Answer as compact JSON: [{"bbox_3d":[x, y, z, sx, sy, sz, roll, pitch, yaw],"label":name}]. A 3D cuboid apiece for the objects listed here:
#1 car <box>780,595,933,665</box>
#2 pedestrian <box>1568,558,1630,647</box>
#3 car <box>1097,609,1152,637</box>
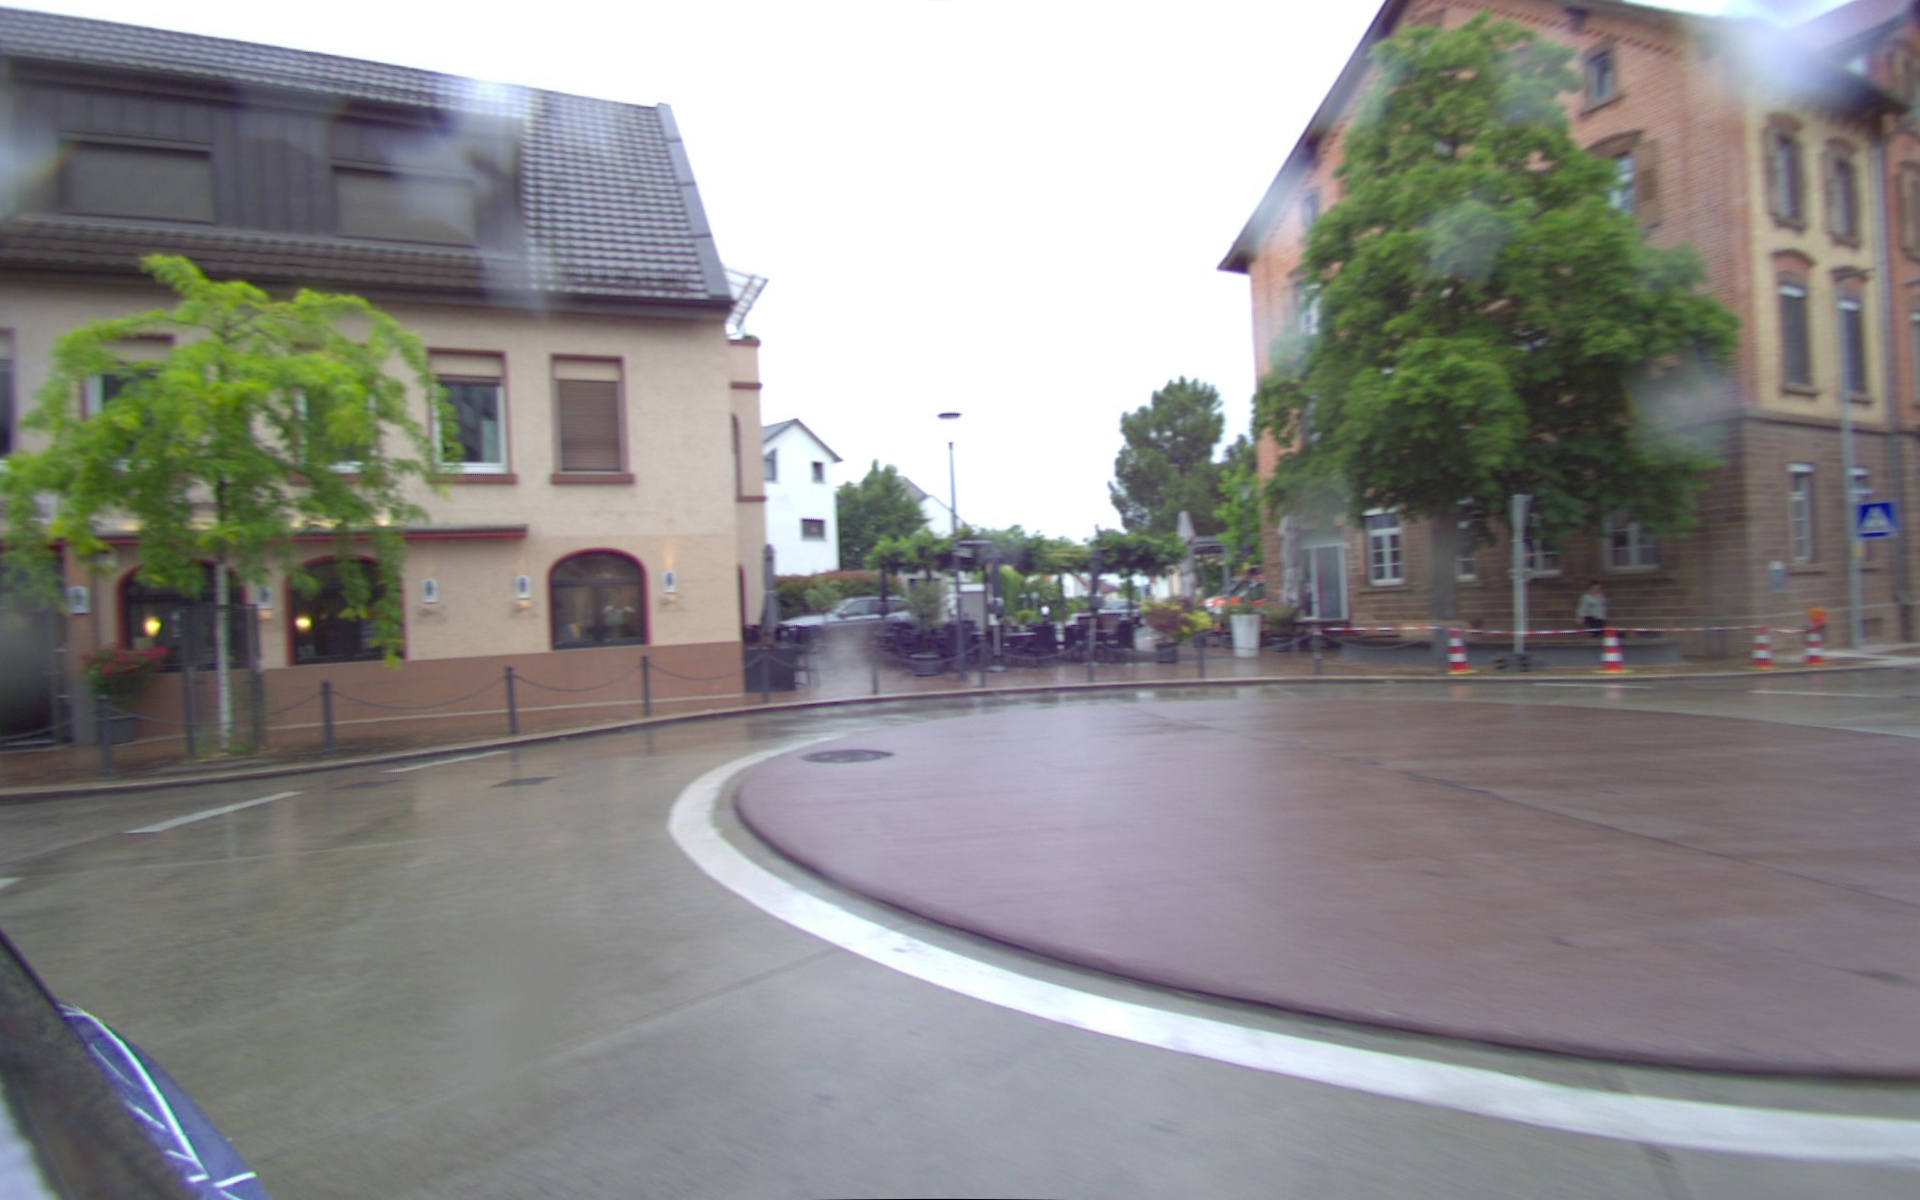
[{"bbox_3d":[-3.256,0.895,31.433,4.412,2.029,2.006,0,-1,-16],"label":"car"},{"bbox_3d":[14.030,0.056,22.225,0.810,1.900,0.845,-1,0,-28],"label":"pedestrian"},{"bbox_3d":[8.689,1.204,53.695,1.845,1.453,4.006,-1,-1,-6],"label":"car"}]
